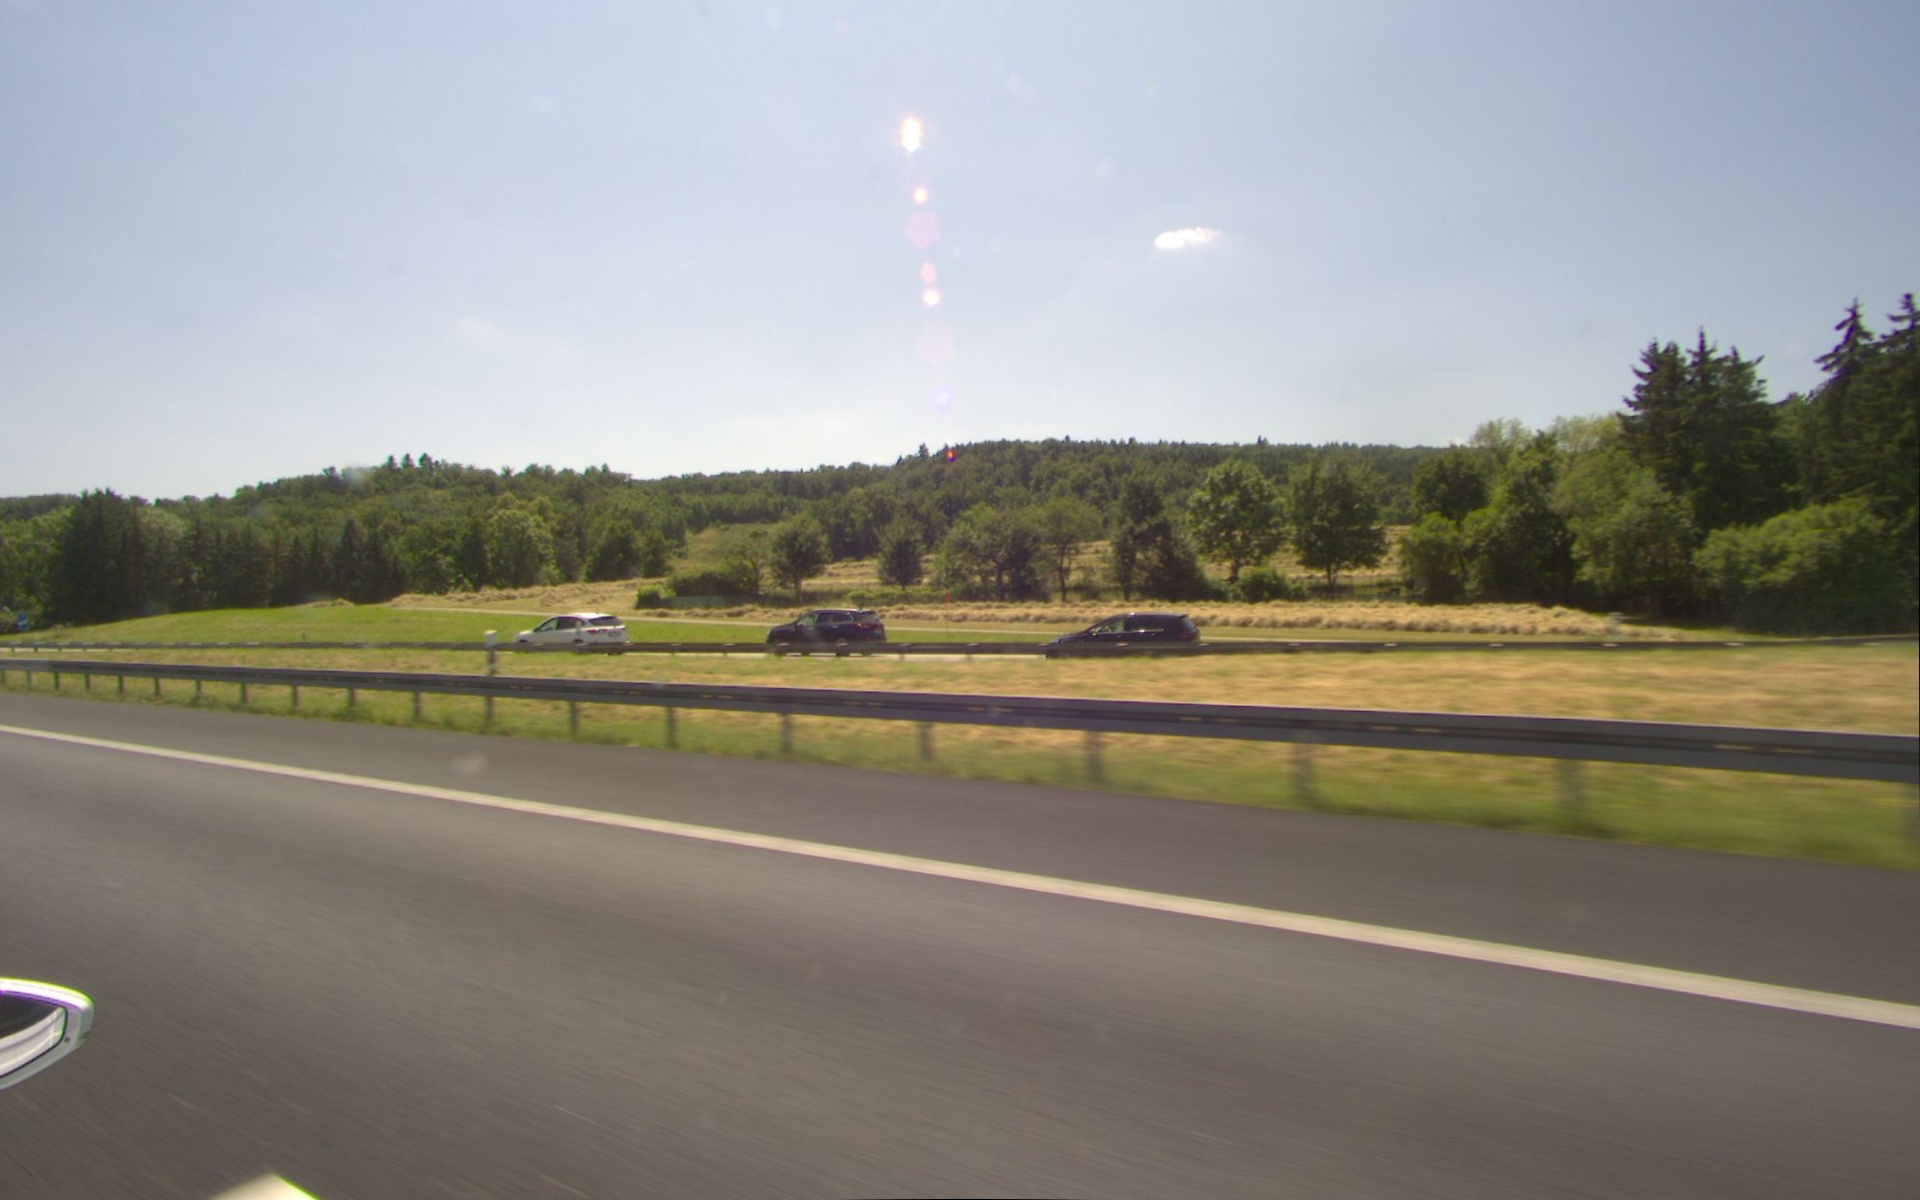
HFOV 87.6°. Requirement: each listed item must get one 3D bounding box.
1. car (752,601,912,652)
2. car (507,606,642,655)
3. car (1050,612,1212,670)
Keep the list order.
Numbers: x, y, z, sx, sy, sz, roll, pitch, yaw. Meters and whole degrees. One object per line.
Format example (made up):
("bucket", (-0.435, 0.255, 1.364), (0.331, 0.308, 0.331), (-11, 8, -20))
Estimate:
("car", (-4.582, 0.980, 35.669), (5.539, 1.683, 1.993), (-1, -2, 28))
("car", (-13.833, 1.109, 35.918), (4.393, 1.683, 1.995), (-1, -2, 23))
("car", (4.551, 1.078, 26.640), (3.902, 1.453, 1.795), (0, -2, 26))
